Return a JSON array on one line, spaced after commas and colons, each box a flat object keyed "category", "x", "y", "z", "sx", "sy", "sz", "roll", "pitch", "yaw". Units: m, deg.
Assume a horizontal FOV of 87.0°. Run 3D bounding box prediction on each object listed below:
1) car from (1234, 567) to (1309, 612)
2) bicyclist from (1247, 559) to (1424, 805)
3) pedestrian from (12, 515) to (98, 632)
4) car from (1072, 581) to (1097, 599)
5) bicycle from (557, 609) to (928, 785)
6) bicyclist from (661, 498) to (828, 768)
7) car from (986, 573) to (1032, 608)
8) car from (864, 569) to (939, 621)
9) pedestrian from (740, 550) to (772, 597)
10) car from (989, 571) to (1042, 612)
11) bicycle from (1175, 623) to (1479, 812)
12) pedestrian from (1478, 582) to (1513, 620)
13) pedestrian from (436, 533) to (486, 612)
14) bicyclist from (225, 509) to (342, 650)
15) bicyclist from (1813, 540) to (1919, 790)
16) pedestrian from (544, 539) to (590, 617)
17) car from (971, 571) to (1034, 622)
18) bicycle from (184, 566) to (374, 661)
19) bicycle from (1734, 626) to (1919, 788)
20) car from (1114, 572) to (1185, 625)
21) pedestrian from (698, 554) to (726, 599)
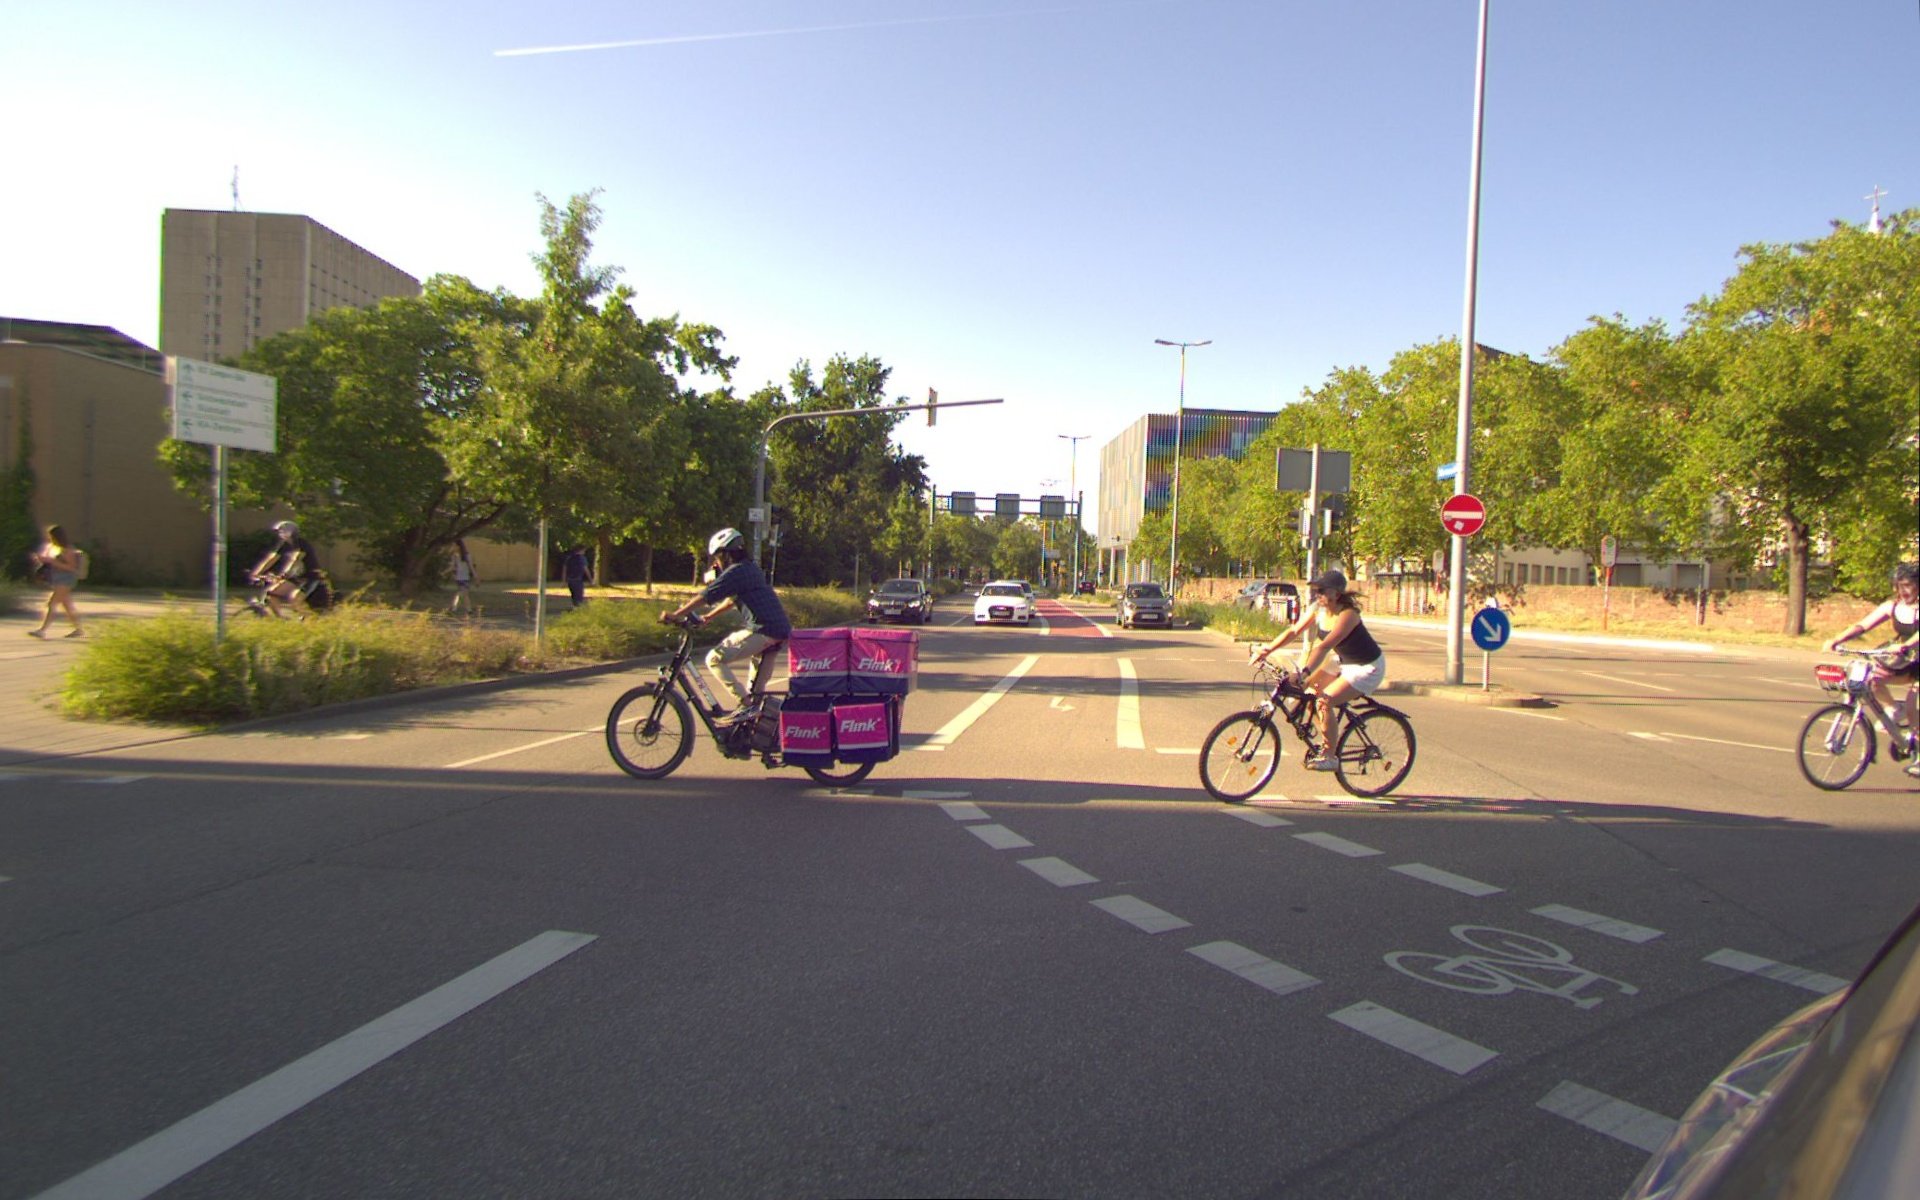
[{"category": "car", "x": 12.993, "y": -0.494, "z": 42.490, "sx": 1.965, "sy": 1.705, "sz": 4.625, "roll": 2, "pitch": 2, "yaw": 4}, {"category": "bicyclist", "x": 2.536, "y": 0.537, "z": 6.895, "sx": 0.832, "sy": 1.568, "sz": 0.719, "roll": 2, "pitch": -1, "yaw": -13}, {"category": "pedestrian", "x": -12.783, "y": -0.375, "z": 14.311, "sx": 0.611, "sy": 1.594, "sz": 0.639, "roll": 2, "pitch": 1, "yaw": 3}, {"category": "car", "x": 12.409, "y": -1.045, "z": 100.944, "sx": 1.962, "sy": 1.615, "sz": 4.000, "roll": 2, "pitch": 2, "yaw": 1}, {"category": "bicycle", "x": -1.510, "y": 0.671, "z": 7.377, "sx": 2.530, "sy": 1.170, "sz": 0.781, "roll": 0, "pitch": 1, "yaw": -3}, {"category": "bicyclist", "x": -1.535, "y": 0.215, "z": 7.377, "sx": 1.072, "sy": 1.856, "sz": 0.781, "roll": 0, "pitch": 1, "yaw": -3}, {"category": "car", "x": 2.359, "y": -0.485, "z": 47.879, "sx": 1.892, "sy": 1.537, "sz": 4.012, "roll": 2, "pitch": 2, "yaw": 6}, {"category": "car", "x": -1.849, "y": -0.223, "z": 33.158, "sx": 1.772, "sy": 1.537, "sz": 3.994, "roll": 2, "pitch": 2, "yaw": 6}, {"category": "pedestrian", "x": -7.854, "y": -1.028, "z": 39.003, "sx": 0.999, "sy": 1.771, "sz": 0.850, "roll": 3, "pitch": 1, "yaw": -3}, {"category": "car", "x": 2.306, "y": -0.391, "z": 41.167, "sx": 1.892, "sy": 1.537, "sz": 4.012, "roll": 2, "pitch": 2, "yaw": 6}, {"category": "bicycle", "x": 2.473, "y": 0.748, "z": 6.880, "sx": 1.830, "sy": 1.135, "sz": 0.721, "roll": 0, "pitch": 0, "yaw": -13}, {"category": "pedestrian", "x": 23.151, "y": 0.041, "z": 43.750, "sx": 0.956, "sy": 1.555, "sz": 0.922, "roll": 2, "pitch": 1, "yaw": 4}, {"category": "pedestrian", "x": -11.246, "y": -0.618, "z": 22.816, "sx": 0.663, "sy": 1.725, "sz": 0.877, "roll": 2, "pitch": 1, "yaw": -2}, {"category": "bicyclist", "x": -9.318, "y": -0.289, "z": 13.979, "sx": 0.769, "sy": 1.853, "sz": 1.089, "roll": 3, "pitch": 1, "yaw": 12}, {"category": "bicyclist", "x": 7.196, "y": 0.468, "z": 7.664, "sx": 0.834, "sy": 1.810, "sz": 0.717, "roll": 0, "pitch": 1, "yaw": 2}, {"category": "pedestrian", "x": -8.971, "y": -0.505, "z": 23.115, "sx": 0.699, "sy": 1.734, "sz": 0.733, "roll": 2, "pitch": 1, "yaw": 3}, {"category": "car", "x": 1.489, "y": -0.171, "z": 33.961, "sx": 1.772, "sy": 1.537, "sz": 4.425, "roll": 2, "pitch": 2, "yaw": 6}, {"category": "bicycle", "x": -9.335, "y": 0.141, "z": 14.011, "sx": 0.768, "sy": 1.170, "sz": 2.283, "roll": 3, "pitch": 2, "yaw": 12}, {"category": "bicycle", "x": 7.192, "y": 0.792, "z": 7.679, "sx": 2.028, "sy": 1.135, "sz": 0.719, "roll": 0, "pitch": 1, "yaw": 3}, {"category": "car", "x": 6.161, "y": -0.112, "z": 33.268, "sx": 1.892, "sy": 1.537, "sz": 4.012, "roll": 2, "pitch": 2, "yaw": 6}, {"category": "pedestrian", "x": -8.763, "y": -0.837, "z": 35.785, "sx": 0.748, "sy": 1.562, "sz": 0.848, "roll": 3, "pitch": 1, "yaw": -3}]
